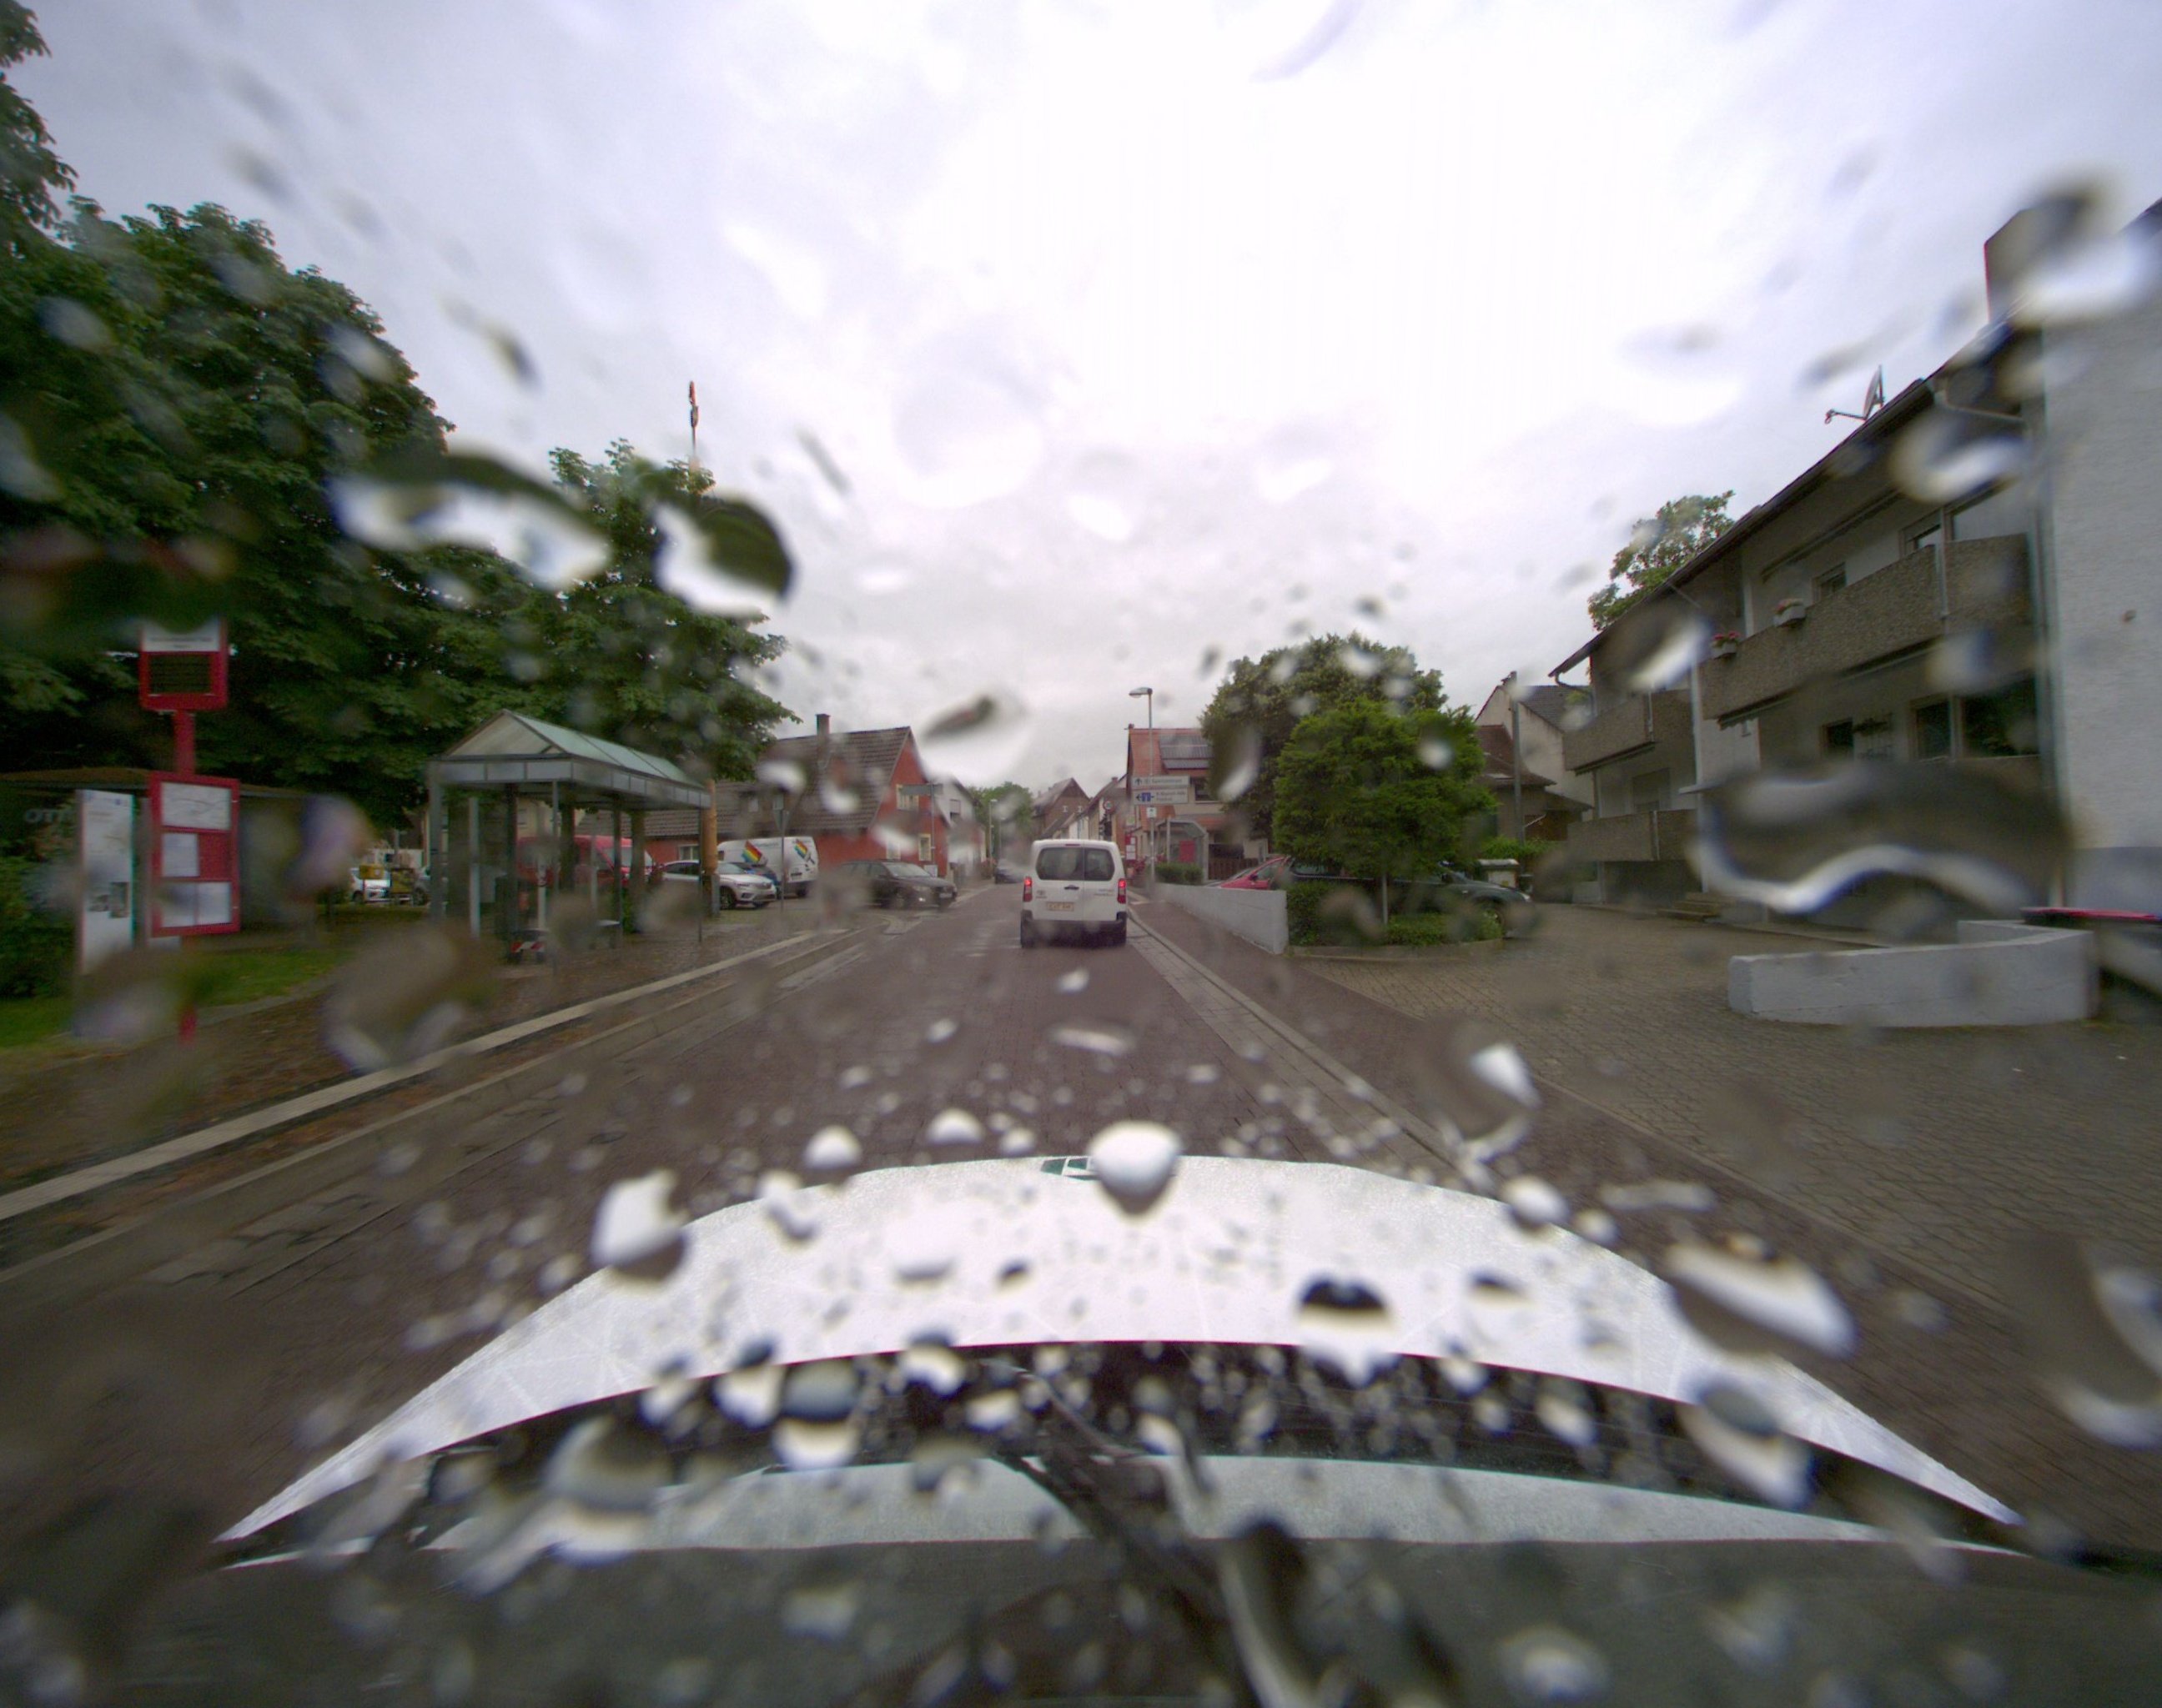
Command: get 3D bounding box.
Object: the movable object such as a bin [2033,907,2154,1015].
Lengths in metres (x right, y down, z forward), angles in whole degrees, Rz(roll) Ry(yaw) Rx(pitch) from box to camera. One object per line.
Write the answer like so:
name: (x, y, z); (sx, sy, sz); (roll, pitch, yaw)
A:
movable object such as a bin: (10.860, 1.128, 8.759); (0.618, 1.066, 0.573); (0, -1, 24)

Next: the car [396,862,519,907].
car: (-23.183, 1.140, 30.297); (3.768, 1.550, 1.809); (-2, -2, 18)

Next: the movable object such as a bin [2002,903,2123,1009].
movable object such as a bin: (11.273, 1.150, 9.381); (0.618, 1.118, 0.694); (0, -1, 20)

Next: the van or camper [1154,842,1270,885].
van or camper: (6.100, 0.448, 38.266); (5.062, 1.923, 1.872); (1, -1, -6)

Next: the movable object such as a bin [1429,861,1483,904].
movable object such as a bin: (12.373, 0.928, 26.896); (1.238, 1.357, 1.154); (0, 0, -1)

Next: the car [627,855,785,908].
car: (-11.927, 0.830, 25.944); (4.410, 1.550, 1.891); (0, -1, 18)

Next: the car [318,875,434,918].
car: (-27.397, 1.651, 31.663); (3.767, 1.550, 1.810); (-2, -2, 20)

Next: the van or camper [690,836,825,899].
van or camper: (-13.557, 0.563, 34.138); (5.096, 2.435, 2.224); (-2, 0, 23)

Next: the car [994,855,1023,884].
car: (-4.779, 1.006, 54.182); (1.809, 1.779, 4.012); (-2, 0, -4)

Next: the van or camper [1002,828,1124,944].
van or camper: (-0.399, 0.534, 15.048); (1.939, 1.851, 3.995); (1, -1, -3)

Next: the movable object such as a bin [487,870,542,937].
movable object such as a bin: (-10.001, 0.872, 14.403); (0.561, 1.146, 0.603); (-1, -2, -5)

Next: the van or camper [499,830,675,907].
van or camper: (-17.206, 0.472, 28.375); (5.807, 2.474, 2.166); (0, -1, 22)

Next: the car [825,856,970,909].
car: (-5.698, 0.828, 25.126); (4.258, 1.477, 1.861); (0, -1, 32)

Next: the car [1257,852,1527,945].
car: (5.274, 0.760, 14.328); (4.199, 1.480, 1.701); (-1, -1, 12)

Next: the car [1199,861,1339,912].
car: (5.634, 0.978, 24.815); (3.932, 1.378, 1.754); (-2, 0, 5)

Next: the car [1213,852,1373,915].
car: (5.701, 0.797, 22.250); (4.041, 1.589, 1.863); (-1, -1, 11)

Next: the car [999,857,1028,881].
car: (-4.999, 1.134, 60.616); (1.743, 1.636, 4.416); (-4, -1, -1)

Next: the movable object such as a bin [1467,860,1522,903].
movable object such as a bin: (13.649, 0.895, 26.934); (1.238, 1.357, 1.154); (0, 0, -1)

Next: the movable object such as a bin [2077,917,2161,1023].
movable object such as a bin: (10.348, 1.116, 7.956); (0.617, 0.948, 0.660); (0, -1, 36)

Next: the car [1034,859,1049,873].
car: (-5.516, 1.661, 112.988); (1.990, 1.747, 3.994); (1, 2, -5)
